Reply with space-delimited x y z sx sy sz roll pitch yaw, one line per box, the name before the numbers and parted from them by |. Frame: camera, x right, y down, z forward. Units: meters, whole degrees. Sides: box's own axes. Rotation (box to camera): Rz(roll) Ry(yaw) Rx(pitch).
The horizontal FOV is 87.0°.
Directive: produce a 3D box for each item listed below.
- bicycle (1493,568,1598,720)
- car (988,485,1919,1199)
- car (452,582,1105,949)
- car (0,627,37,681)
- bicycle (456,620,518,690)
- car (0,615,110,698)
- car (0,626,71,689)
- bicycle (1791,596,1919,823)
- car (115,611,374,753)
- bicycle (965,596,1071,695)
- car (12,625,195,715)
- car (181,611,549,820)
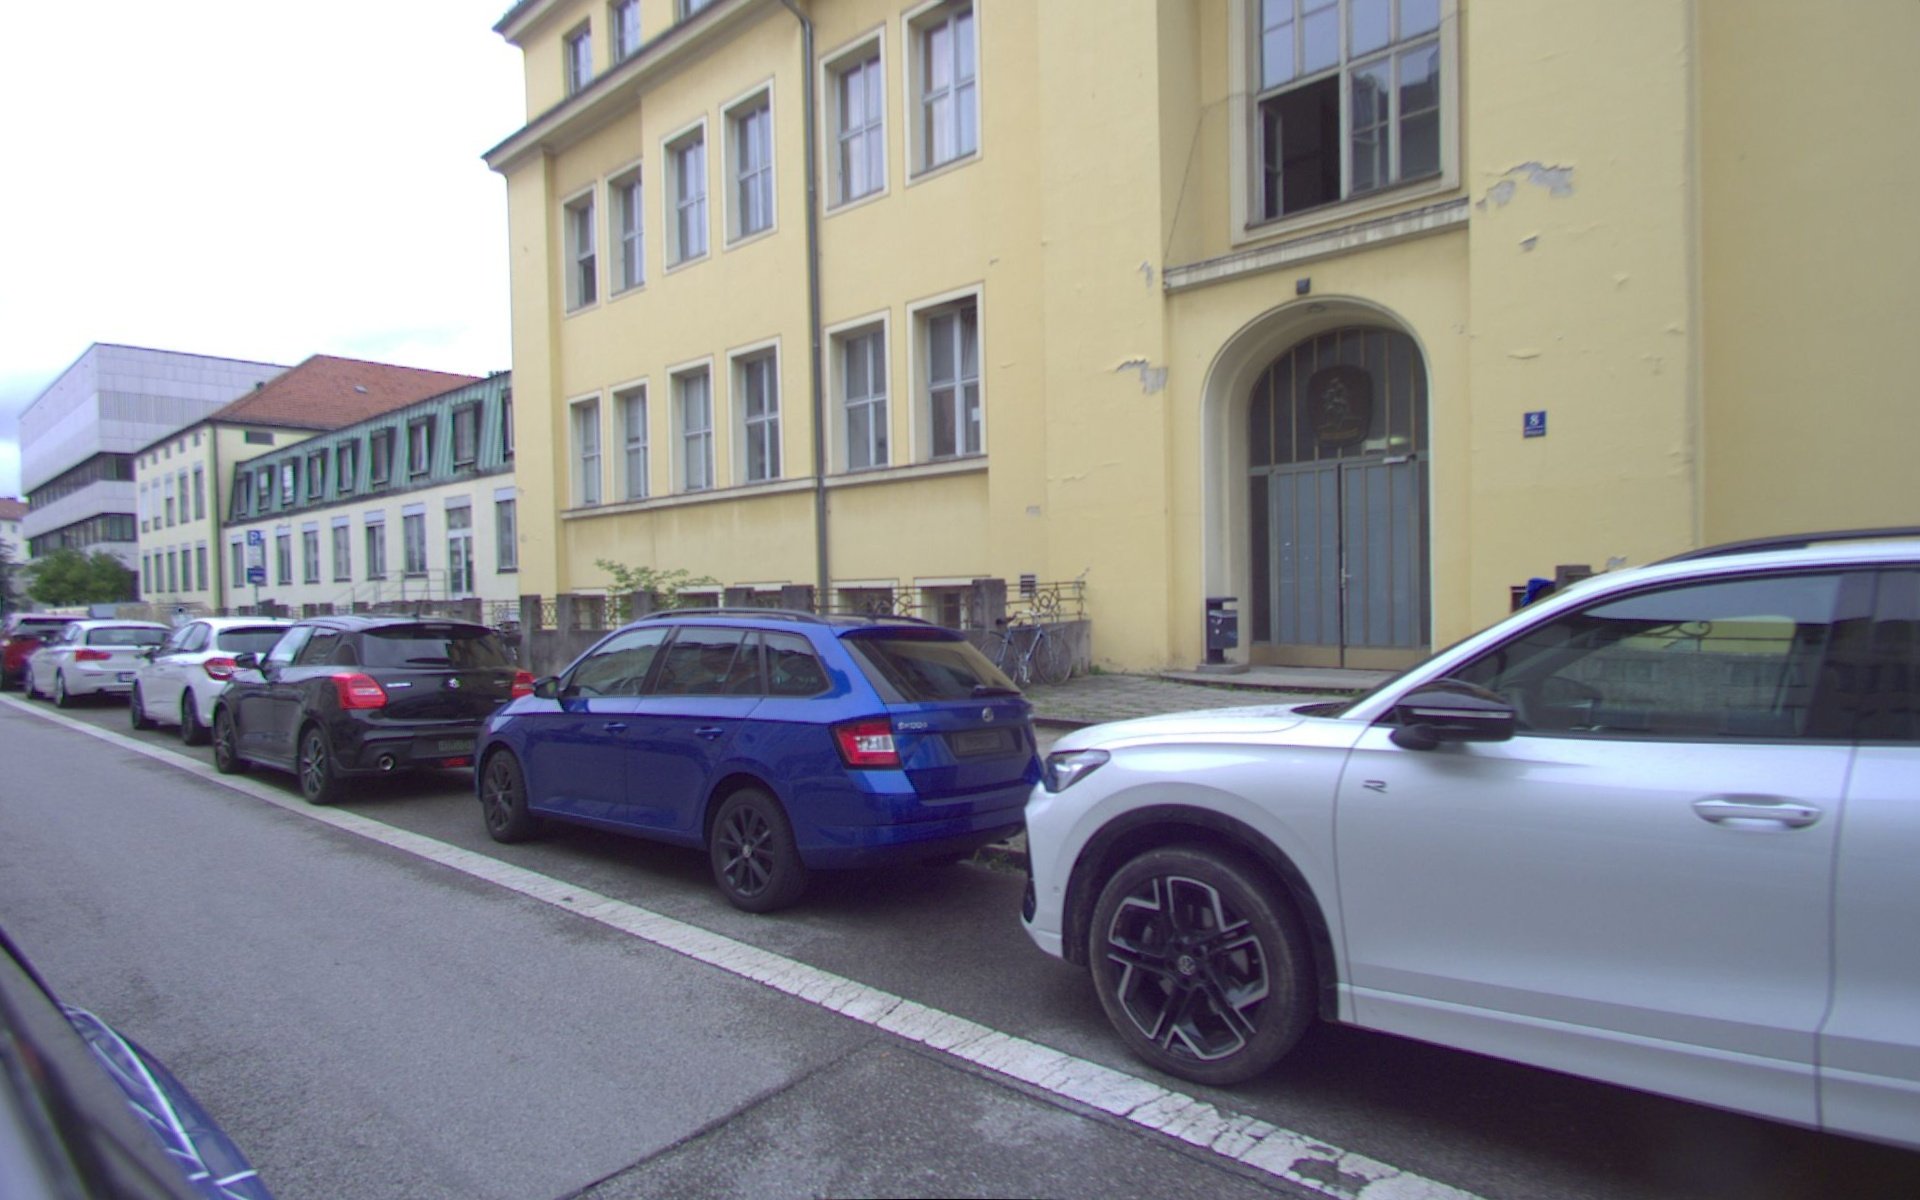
bicycle | 5.360 0.353 9.225 0.578 1.197 1.542 -1 3 39
car | 2.318 0.619 2.826 4.350 1.646 1.664 -1 -3 38
car | -1.273 0.734 6.095 3.968 1.516 1.664 -1 -2 38
car | -26.948 1.445 27.741 4.122 1.415 1.776 -1 -2 39
bicycle | -8.203 0.926 17.519 0.578 1.085 1.721 -4 2 -37
car | -19.345 1.130 21.128 3.992 1.578 1.658 -1 -2 38
car | -23.014 1.332 24.317 3.983 1.415 1.659 -1 -2 36
bicycle | 5.560 0.592 5.521 1.561 1.197 0.571 -1 3 41
car | -9.217 0.955 12.925 4.084 1.539 1.705 -1 -3 40
bicycle | 0.738 0.525 12.336 0.438 1.059 1.542 -1 3 39
car | -15.004 1.148 17.671 3.992 1.408 1.658 -1 -2 38
car | -5.542 0.885 9.234 3.983 1.507 1.663 -1 -2 40
